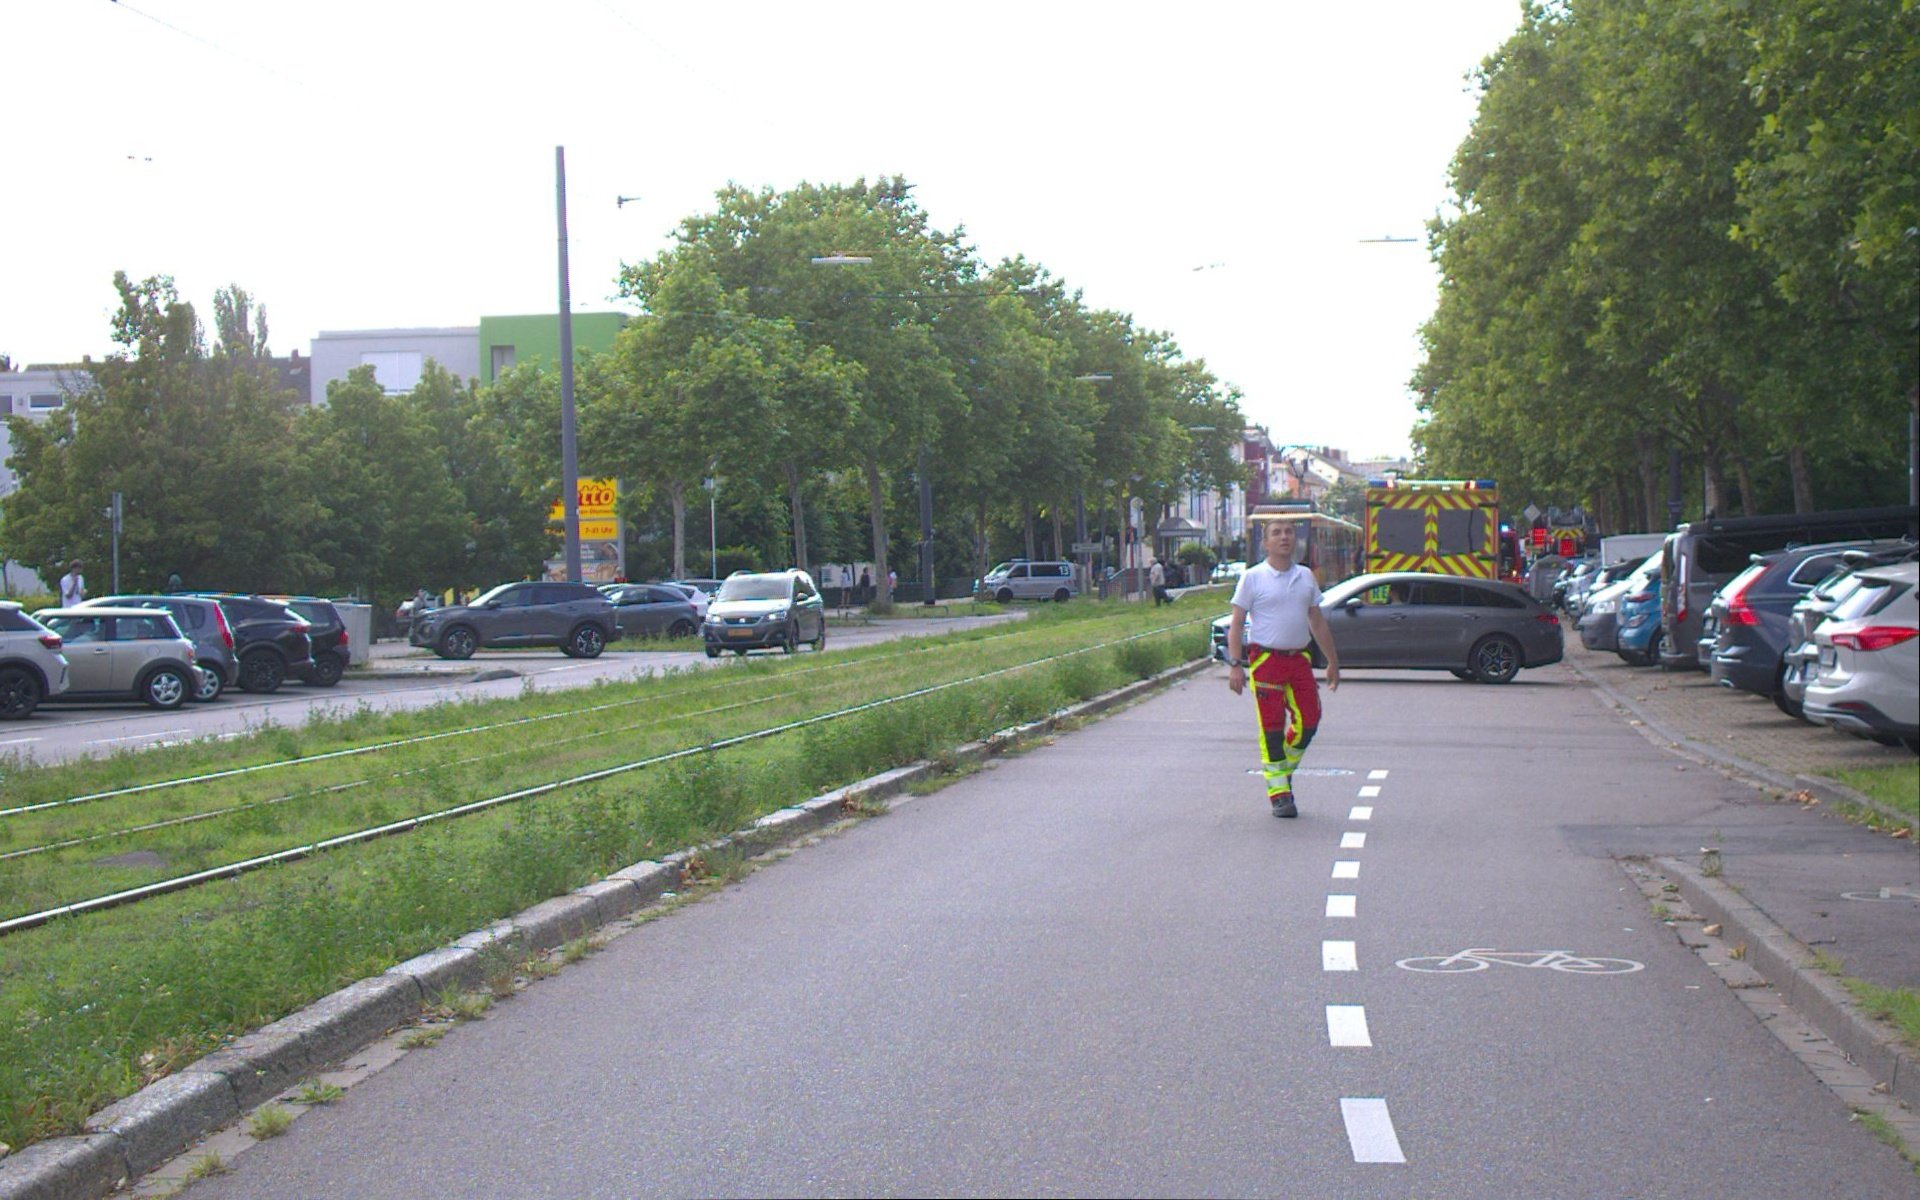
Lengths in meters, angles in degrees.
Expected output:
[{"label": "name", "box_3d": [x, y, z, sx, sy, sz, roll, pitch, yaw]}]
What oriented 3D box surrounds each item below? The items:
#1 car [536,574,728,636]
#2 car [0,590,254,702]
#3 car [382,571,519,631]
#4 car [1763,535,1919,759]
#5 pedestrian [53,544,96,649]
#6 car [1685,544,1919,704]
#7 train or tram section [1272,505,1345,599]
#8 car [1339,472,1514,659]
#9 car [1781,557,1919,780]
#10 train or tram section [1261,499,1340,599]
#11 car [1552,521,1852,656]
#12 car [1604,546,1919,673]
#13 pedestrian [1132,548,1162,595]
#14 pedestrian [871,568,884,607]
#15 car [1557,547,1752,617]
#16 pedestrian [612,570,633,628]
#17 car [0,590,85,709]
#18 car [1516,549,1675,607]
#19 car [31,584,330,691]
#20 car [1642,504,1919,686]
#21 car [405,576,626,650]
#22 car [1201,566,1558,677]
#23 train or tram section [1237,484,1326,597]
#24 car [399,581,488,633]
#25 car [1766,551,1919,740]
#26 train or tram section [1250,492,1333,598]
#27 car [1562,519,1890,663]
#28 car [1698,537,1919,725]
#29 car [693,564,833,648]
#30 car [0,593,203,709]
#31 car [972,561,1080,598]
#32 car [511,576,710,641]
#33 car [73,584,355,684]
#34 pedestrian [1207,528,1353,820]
[{"label": "car", "box_3d": [-7.921, 0.113, 83.109, 4.220, 1.477, 1.884, 0, 0, -27]}, {"label": "car", "box_3d": [-12.527, 0.651, 49.815, 4.220, 1.477, 1.884, -2, 1, -20]}, {"label": "car", "box_3d": [-15.599, 0.027, 105.162, 3.996, 1.744, 1.995, 2, 1, 40]}, {"label": "car", "box_3d": [8.615, 0.278, 26.080, 4.659, 1.620, 1.847, -2, 1, 5]}, {"label": "pedestrian", "box_3d": [-15.472, -0.061, 60.047, 0.546, 1.822, 0.509, -1, 0, 7]}, {"label": "car", "box_3d": [9.959, 0.213, 36.777, 3.965, 1.600, 1.756, -2, 0, -2]}, {"label": "train or tram section", "box_3d": [14.005, -1.872, 137.763, 2.512, 3.572, 7.442, -2, 0, 8]}, {"label": "car", "box_3d": [8.077, -0.587, 58.980, 2.642, 2.956, 6.297, 2, 1, 10]}, {"label": "car", "box_3d": [8.234, 0.393, 23.888, 4.659, 1.468, 1.847, -2, 1, 5]}, {"label": "train or tram section", "box_3d": [12.955, -1.892, 130.430, 2.512, 3.572, 7.442, -2, 0, 8]}, {"label": "car", "box_3d": [12.100, -0.192, 56.295, 4.546, 2.036, 1.855, -2, 0, 5]}, {"label": "car", "box_3d": [11.633, 0.129, 49.154, 4.546, 1.655, 1.855, -2, 0, 4]}, {"label": "pedestrian", "box_3d": [6.102, -0.921, 111.984, 0.881, 1.520, 0.750, 1, 0, 8]}, {"label": "pedestrian", "box_3d": [-3.183, -0.490, 132.447, 0.421, 1.468, 0.467, -1, 0, 4]}, {"label": "car", "box_3d": [17.348, -0.445, 86.017, 4.546, 1.603, 1.855, -2, 0, 5]}, {"label": "pedestrian", "box_3d": [-9.851, -0.033, 100.411, 0.466, 1.671, 0.603, -1, 0, 7]}, {"label": "car", "box_3d": [-13.514, 0.669, 43.915, 4.220, 1.477, 1.884, -2, 1, -25]}, {"label": "car", "box_3d": [19.205, -0.666, 104.027, 4.546, 1.603, 1.855, -2, 0, 5]}, {"label": "car", "box_3d": [-11.972, 0.553, 52.768, 4.220, 1.477, 1.884, -2, 1, -20]}, {"label": "car", "box_3d": [10.868, -0.087, 42.720, 4.547, 2.116, 1.855, -2, 0, 8]}, {"label": "car", "box_3d": [-9.071, 0.264, 70.088, 4.220, 1.477, 1.884, 0, 0, -16]}, {"label": "car", "box_3d": [5.546, 0.274, 45.795, 4.452, 1.381, 1.767, 1, 1, -3]}, {"label": "train or tram section", "box_3d": [10.870, -1.933, 115.704, 2.512, 3.572, 7.442, -2, 0, 8]}, {"label": "car", "box_3d": [-18.037, 0.226, 120.178, 1.994, 1.744, 3.999, 1, 1, 8]}, {"label": "car", "box_3d": [9.034, 0.317, 28.660, 4.383, 1.496, 1.755, -2, 1, 11]}, {"label": "train or tram section", "box_3d": [11.908, -1.913, 123.061, 2.512, 3.572, 7.442, -2, 0, 8]}, {"label": "car", "box_3d": [11.476, -0.137, 51.744, 4.546, 1.994, 1.855, -2, 0, 5]}, {"label": "car", "box_3d": [9.021, 0.235, 31.337, 4.383, 1.634, 1.755, -2, 0, 11]}, {"label": "car", "box_3d": [-3.941, 0.104, 69.633, 1.994, 1.552, 4.369, -2, 1, 8]}, {"label": "car", "box_3d": [-12.632, 0.698, 46.968, 4.220, 1.477, 1.884, -2, 1, -20]}, {"label": "car", "box_3d": [3.035, -0.951, 158.046, 4.612, 1.627, 1.883, -1, 1, -30]}, {"label": "car", "box_3d": [-8.153, 0.182, 80.142, 4.220, 1.477, 1.884, 0, 0, -27]}, {"label": "car", "box_3d": [-12.132, 0.529, 55.885, 4.220, 1.477, 1.884, -2, 1, -20]}, {"label": "pedestrian", "box_3d": [1.897, 0.421, 20.278, 0.803, 1.680, 0.851, 0, 0, 9]}]
